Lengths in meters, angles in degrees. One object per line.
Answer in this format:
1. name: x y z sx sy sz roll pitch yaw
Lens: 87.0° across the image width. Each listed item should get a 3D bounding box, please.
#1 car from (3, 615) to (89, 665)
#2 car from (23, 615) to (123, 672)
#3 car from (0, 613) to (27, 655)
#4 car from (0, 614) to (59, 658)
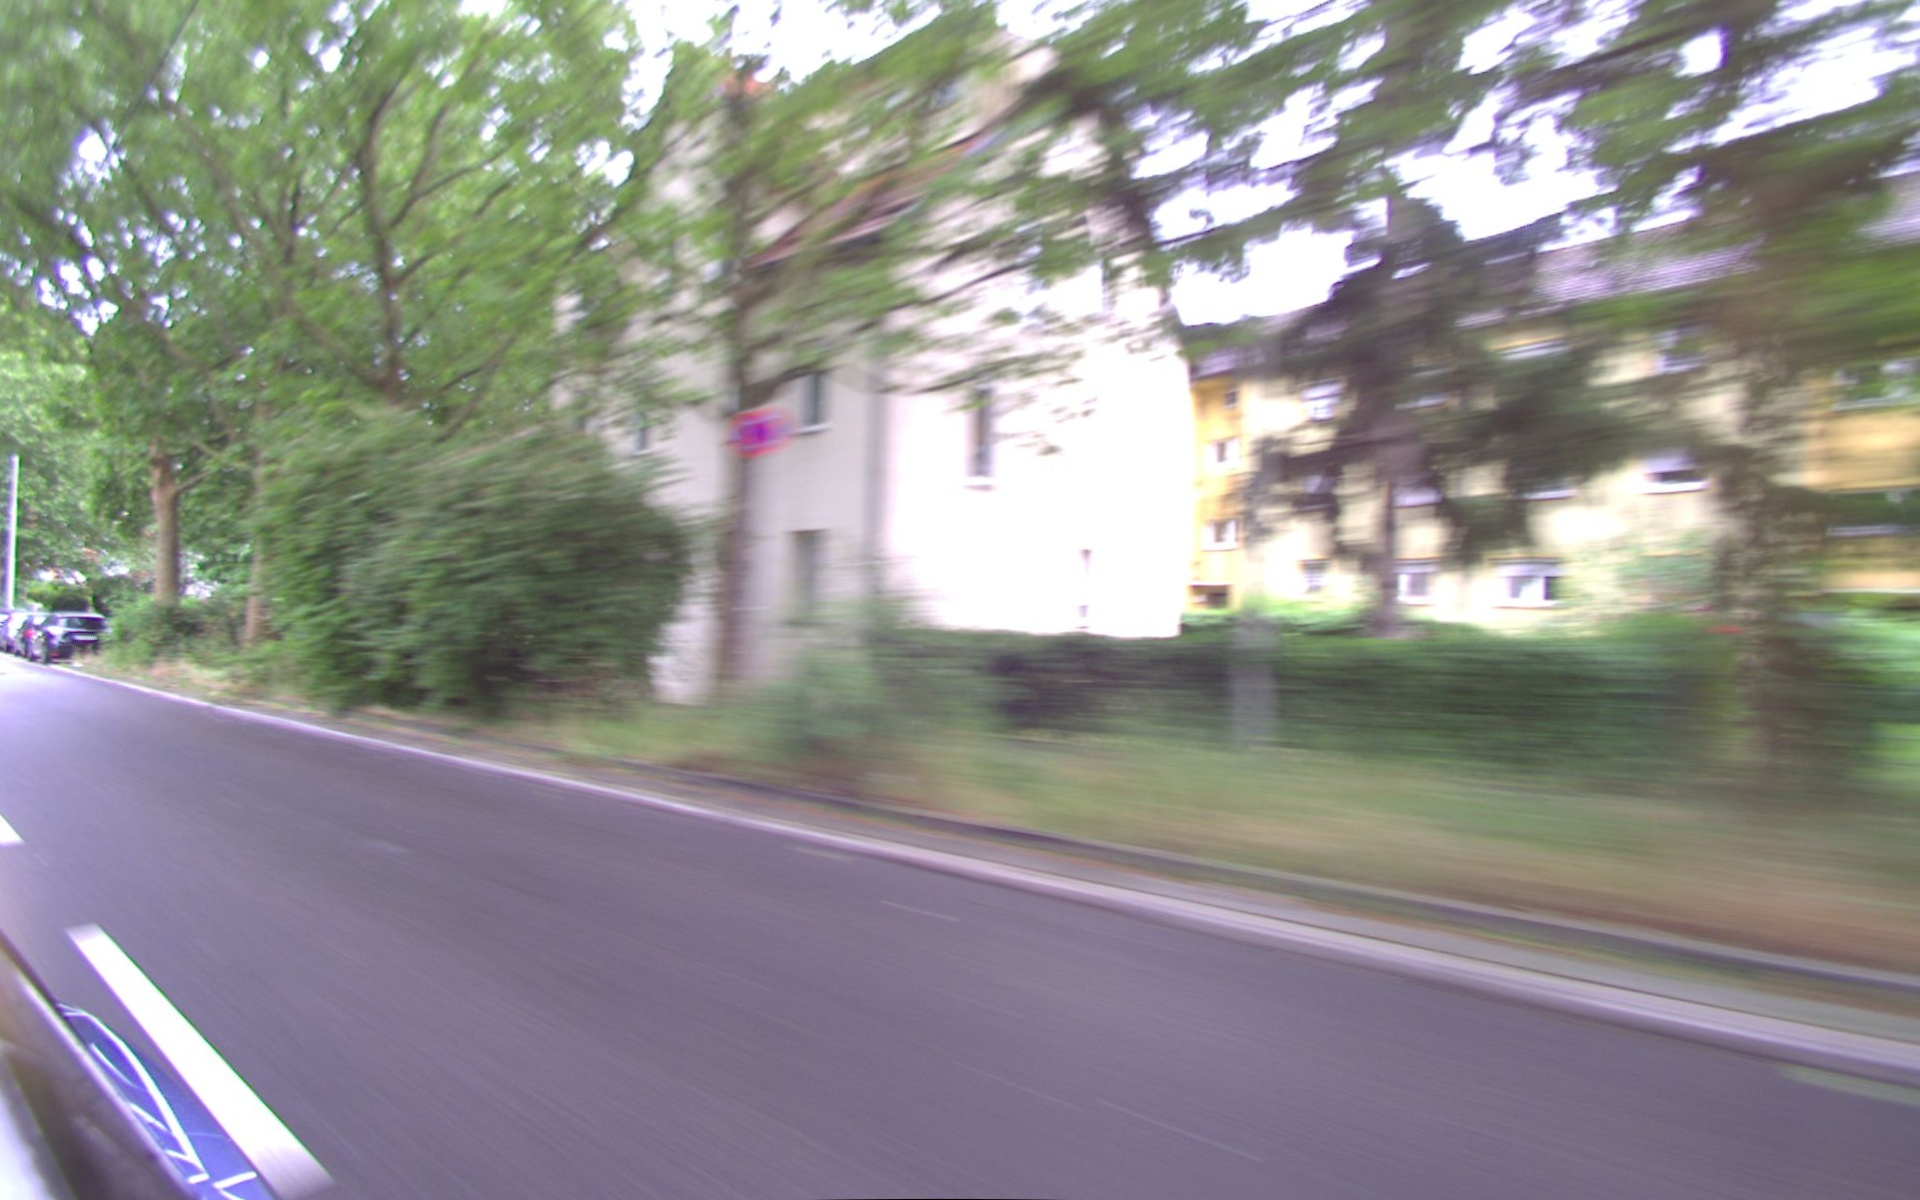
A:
1. car: -30.844 1.320 34.117 3.872 1.519 1.654 0 -5 42
2. car: -26.811 1.293 30.558 4.016 1.549 1.630 0 -5 41
3. car: -39.052 1.317 40.556 4.235 1.603 1.846 0 -4 40
4. car: -35.079 1.291 37.870 4.123 1.519 1.654 0 0 43
